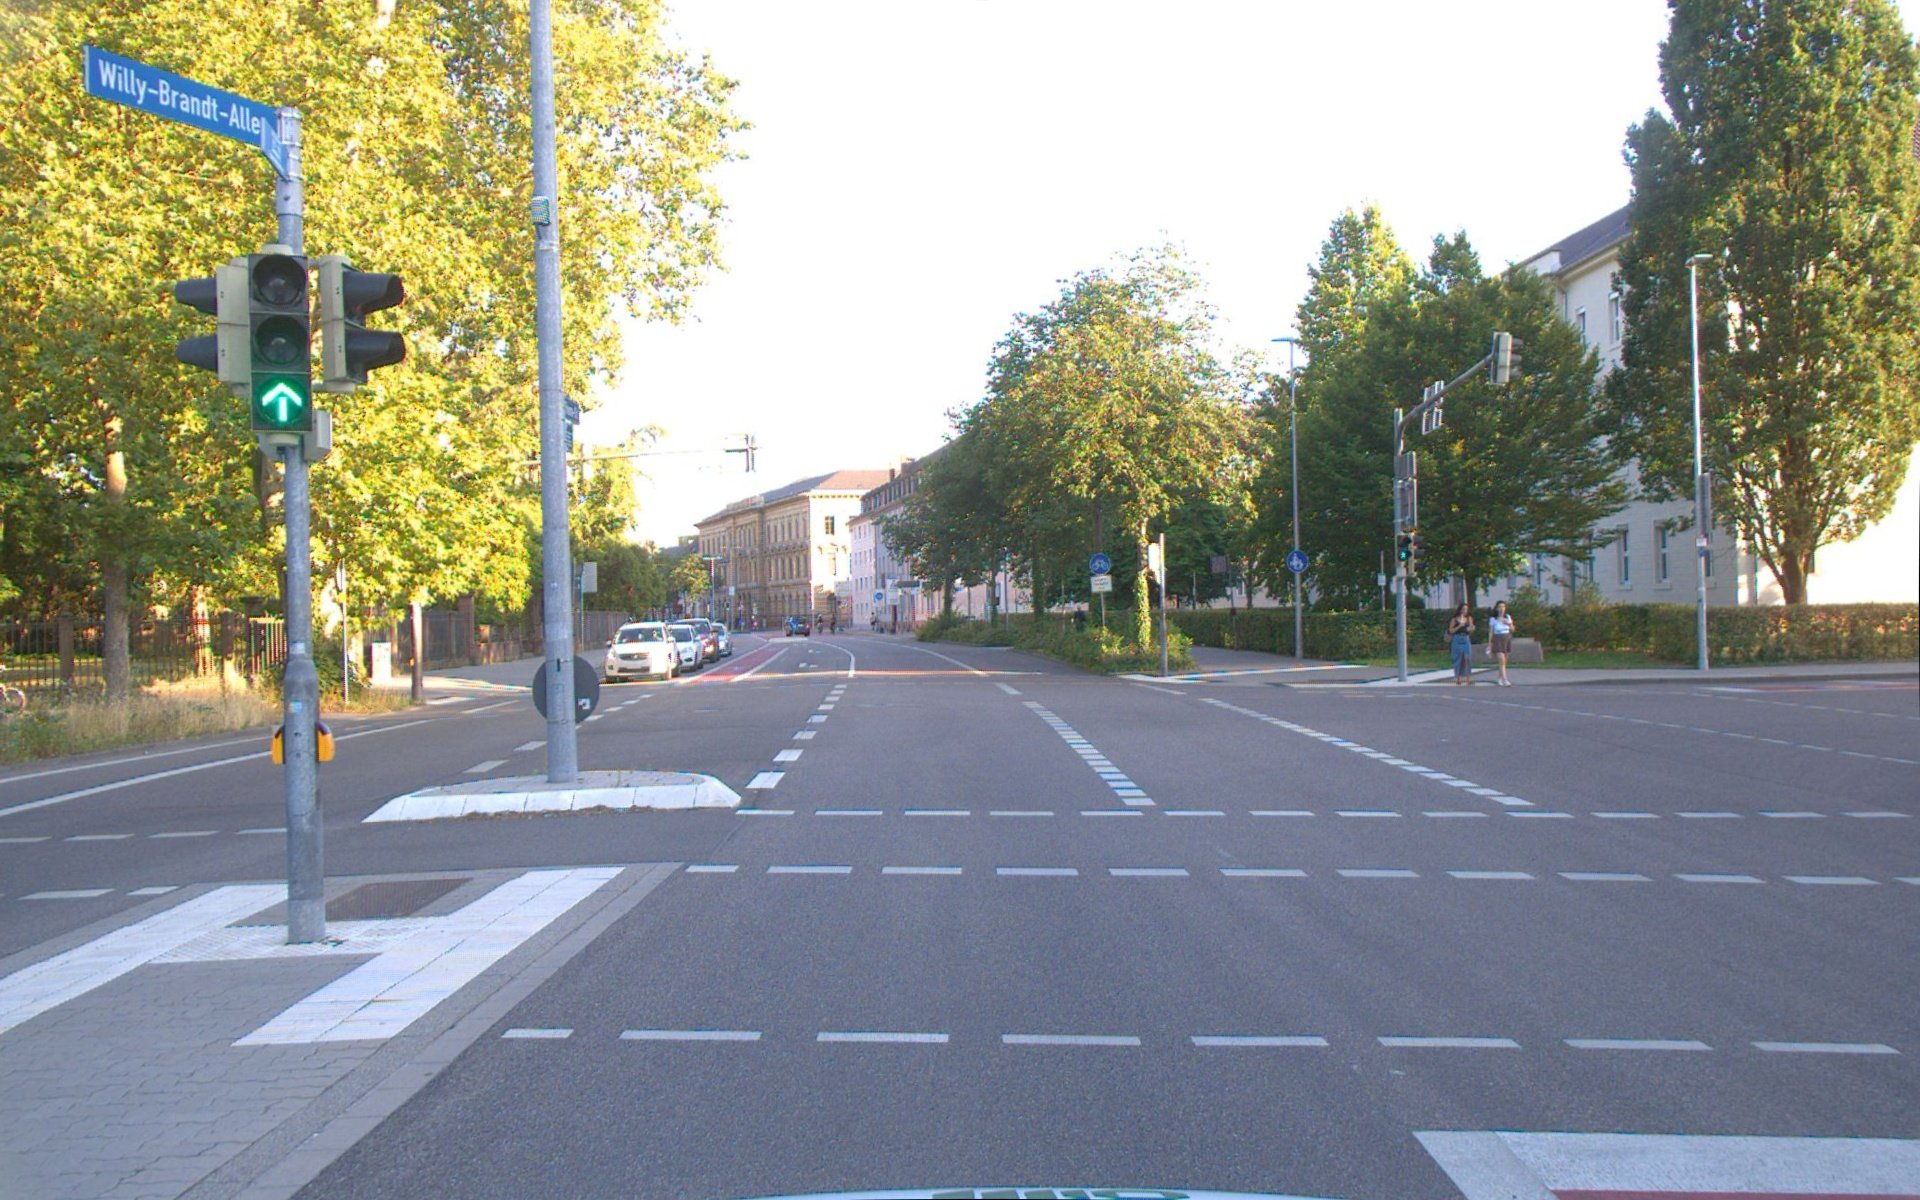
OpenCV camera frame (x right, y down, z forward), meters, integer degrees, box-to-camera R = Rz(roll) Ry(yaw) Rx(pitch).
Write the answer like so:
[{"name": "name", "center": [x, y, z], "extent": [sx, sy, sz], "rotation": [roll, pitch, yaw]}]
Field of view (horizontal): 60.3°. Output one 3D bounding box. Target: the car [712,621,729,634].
[{"name": "car", "center": [-30.834, 3.547, 213.149], "extent": [1.882, 1.442, 4.757], "rotation": [-3, 0, -11]}]

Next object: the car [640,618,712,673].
[{"name": "car", "center": [-9.361, 1.472, 54.879], "extent": [1.879, 1.611, 4.669], "rotation": [-3, 0, -5]}]

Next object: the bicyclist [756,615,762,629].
[{"name": "bicyclist", "center": [-24.927, 2.739, 205.085], "extent": [0.641, 1.727, 0.953], "rotation": [1, -1, -16]}]

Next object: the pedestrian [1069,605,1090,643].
[{"name": "pedestrian", "center": [5.662, 1.130, 78.500], "extent": [0.756, 1.769, 0.805], "rotation": [-1, -1, -10]}]

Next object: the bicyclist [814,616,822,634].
[{"name": "bicyclist", "center": [-12.215, 2.157, 142.616], "extent": [0.639, 1.471, 0.878], "rotation": [1, -1, -8]}]

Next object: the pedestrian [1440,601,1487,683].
[{"name": "pedestrian", "center": [10.395, 0.849, 34.145], "extent": [0.667, 1.650, 0.845], "rotation": [-1, 0, -1]}]

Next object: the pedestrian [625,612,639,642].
[{"name": "pedestrian", "center": [-18.518, 1.512, 93.374], "extent": [0.667, 1.651, 0.688], "rotation": [-1, -1, -1]}]

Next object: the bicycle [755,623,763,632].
[{"name": "bicycle", "center": [-24.945, 3.425, 205.094], "extent": [0.641, 1.033, 2.188], "rotation": [1, -1, -15]}]

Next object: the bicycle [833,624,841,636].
[{"name": "bicycle", "center": [-10.601, 2.594, 142.654], "extent": [0.639, 1.033, 2.194], "rotation": [1, -1, -7]}]

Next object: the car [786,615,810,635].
[{"name": "car", "center": [-12.893, 1.997, 131.829], "extent": [1.831, 1.536, 3.995], "rotation": [-1, -1, -6]}]

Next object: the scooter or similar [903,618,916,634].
[{"name": "scooter or similar", "center": [-4.391, 2.292, 143.195], "extent": [0.619, 1.360, 2.391], "rotation": [-1, -1, -14]}]

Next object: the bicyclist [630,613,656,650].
[{"name": "bicyclist", "center": [-12.646, 1.260, 66.006], "extent": [0.838, 1.456, 0.943], "rotation": [-1, -1, -1]}]

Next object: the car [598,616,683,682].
[{"name": "car", "center": [-9.233, 1.375, 48.147], "extent": [1.879, 1.725, 4.422], "rotation": [-3, 0, -5]}]

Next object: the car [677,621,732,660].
[{"name": "car", "center": [-10.712, 1.661, 69.609], "extent": [1.879, 1.442, 4.765], "rotation": [-3, 0, -5]}]

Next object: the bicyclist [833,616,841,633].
[{"name": "bicyclist", "center": [-10.592, 2.122, 142.667], "extent": [0.639, 1.501, 0.939], "rotation": [1, -1, -7]}]

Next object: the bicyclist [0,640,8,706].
[{"name": "bicyclist", "center": [-20.447, 1.538, 34.654], "extent": [0.829, 1.385, 0.566], "rotation": [-1, -1, -35]}]

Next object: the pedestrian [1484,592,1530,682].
[{"name": "pedestrian", "center": [11.115, 0.746, 33.609], "extent": [0.667, 1.784, 0.688], "rotation": [-1, 0, -1]}]

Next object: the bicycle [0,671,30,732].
[{"name": "bicycle", "center": [-20.420, 2.142, 34.626], "extent": [1.613, 1.251, 0.566], "rotation": [-1, -1, -35]}]

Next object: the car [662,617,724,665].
[{"name": "car", "center": [-10.170, 1.545, 63.253], "extent": [1.879, 1.653, 4.634], "rotation": [-3, 0, -5]}]
